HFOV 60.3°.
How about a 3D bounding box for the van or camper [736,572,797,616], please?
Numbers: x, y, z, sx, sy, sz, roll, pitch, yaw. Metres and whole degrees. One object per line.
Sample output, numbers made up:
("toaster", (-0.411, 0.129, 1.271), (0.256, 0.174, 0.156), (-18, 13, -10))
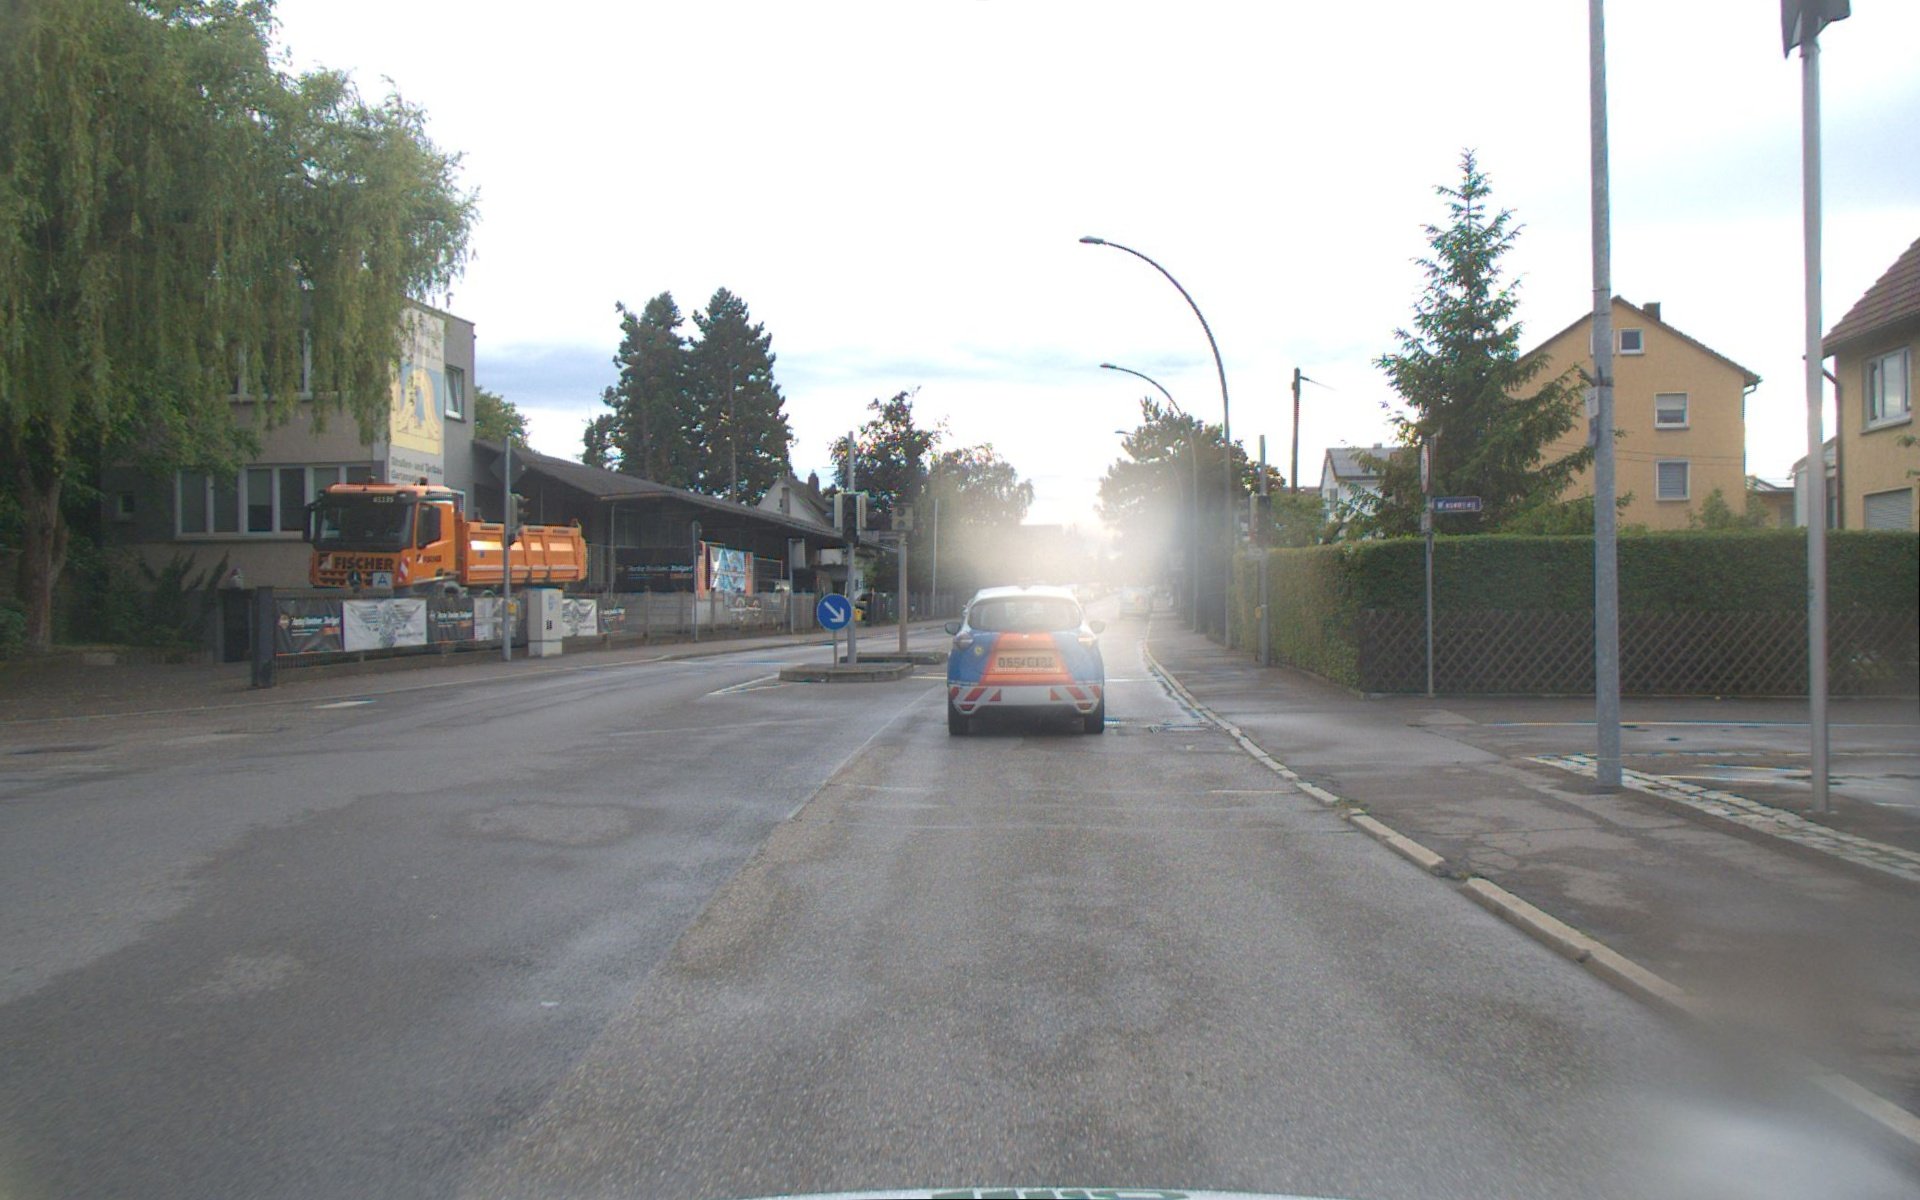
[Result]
("van or camper", (-8.999, -0.278, 77.396), (1.952, 1.942, 4.474), (2, 0, 4))

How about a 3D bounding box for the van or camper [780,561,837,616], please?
("van or camper", (-7.669, -0.544, 84.187), (1.820, 2.480, 5.236), (2, -2, 5))

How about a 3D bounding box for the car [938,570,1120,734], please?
("car", (0.801, 0.526, 18.979), (1.849, 1.660, 4.001), (-1, 0, 3))

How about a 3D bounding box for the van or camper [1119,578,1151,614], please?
("van or camper", (10.193, -0.215, 96.517), (1.717, 1.916, 4.002), (2, -2, 4))

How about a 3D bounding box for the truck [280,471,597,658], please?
("truck", (-10.929, -0.541, 35.952), (2.640, 3.471, 9.078), (2, -2, 9))

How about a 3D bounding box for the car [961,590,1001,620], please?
("car", (1.210, 0.303, 92.289), (1.705, 1.506, 4.186), (-2, -2, 7))

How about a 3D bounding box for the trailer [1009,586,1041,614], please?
("trailer", (4.986, 0.006, 125.777), (2.173, 2.049, 4.439), (-1, 0, 5))

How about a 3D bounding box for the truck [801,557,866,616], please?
("truck", (-6.802, -0.690, 89.854), (2.344, 2.978, 5.961), (2, -1, 6))

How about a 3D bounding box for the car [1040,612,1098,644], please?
("car", (5.186, 1.343, 79.184), (1.956, 1.445, 3.992), (2, -2, -8))

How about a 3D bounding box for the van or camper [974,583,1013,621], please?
("van or camper", (2.059, 0.143, 99.179), (1.850, 2.049, 5.100), (2, -2, 6))

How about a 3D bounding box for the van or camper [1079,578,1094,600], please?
("van or camper", (16.846, -1.445, 220.136), (1.951, 2.823, 5.444), (0, 0, 5))

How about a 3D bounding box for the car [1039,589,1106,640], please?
("car", (3.347, 0.453, 49.677), (1.685, 1.400, 3.933), (2, -2, 0))
